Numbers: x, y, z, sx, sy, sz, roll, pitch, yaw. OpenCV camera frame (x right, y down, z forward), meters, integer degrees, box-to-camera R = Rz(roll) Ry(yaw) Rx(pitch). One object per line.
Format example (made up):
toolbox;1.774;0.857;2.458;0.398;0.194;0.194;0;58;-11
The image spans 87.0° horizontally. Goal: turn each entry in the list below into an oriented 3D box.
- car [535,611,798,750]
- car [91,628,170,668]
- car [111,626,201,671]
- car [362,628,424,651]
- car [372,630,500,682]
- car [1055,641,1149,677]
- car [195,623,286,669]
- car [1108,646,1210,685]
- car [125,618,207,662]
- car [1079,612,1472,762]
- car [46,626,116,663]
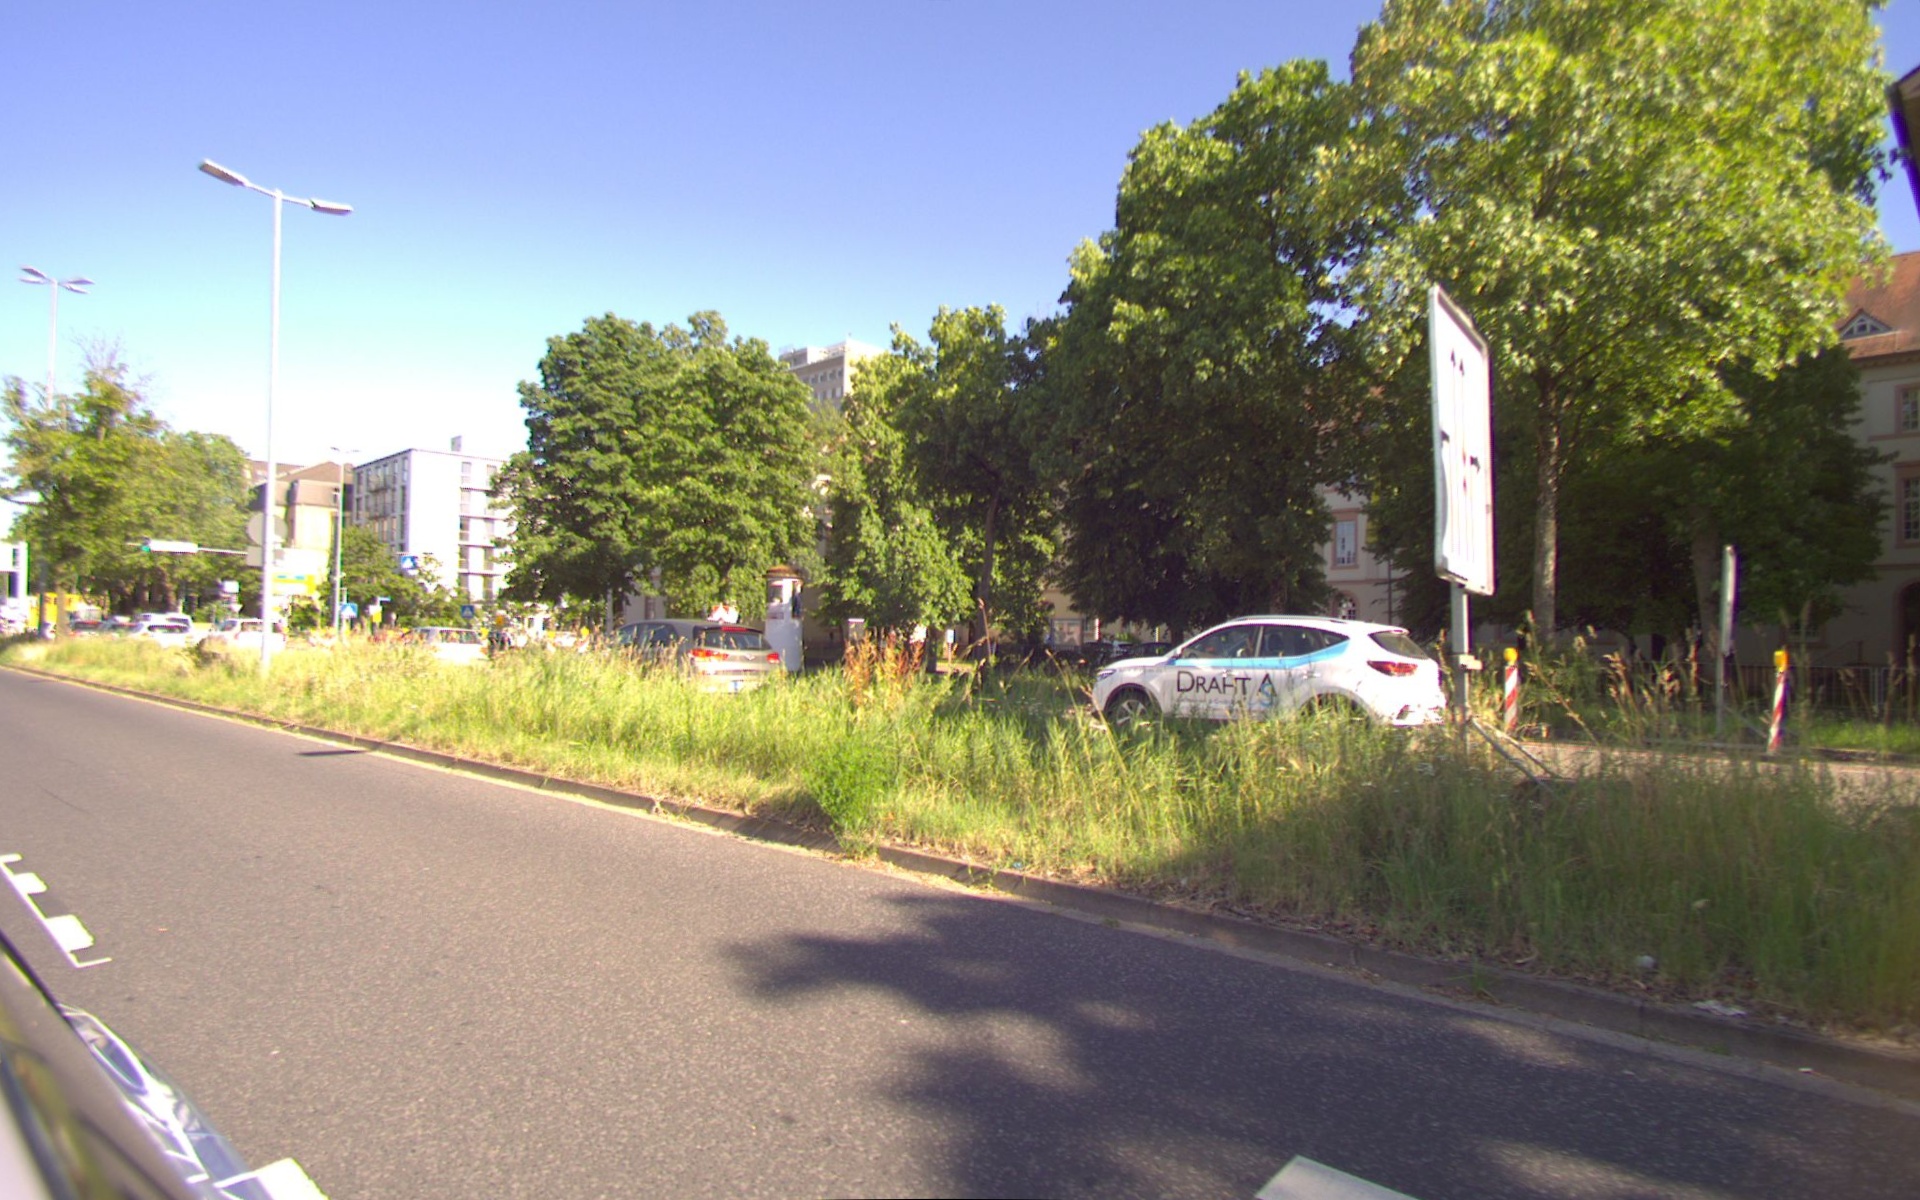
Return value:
car;-4.519;1.078;15.240;4.322;1.630;1.735;3;1;42
car;-34.389;1.950;41.915;4.360;1.530;1.777;-2;-2;41
car;-29.282;1.722;36.823;4.202;1.530;1.777;-1;-3;41
car;-44.496;3.062;79.494;3.937;1.630;1.922;1;1;-40
car;-15.057;1.548;28.977;4.255;1.362;1.777;-1;-2;40
car;7.359;3.030;52.785;4.684;1.503;1.625;3;1;41
car;-28.921;1.796;40.613;5.028;1.756;1.777;-1;-3;41
car;7.460;2.444;38.162;1.743;1.333;3.507;3;-3;-39
car;-39.289;1.942;50.029;5.014;2.043;2.210;-1;-2;41
car;3.728;0.941;12.412;4.255;1.530;1.777;-1;-2;41
car;-39.915;1.983;45.920;4.344;1.530;1.777;0;-1;41
